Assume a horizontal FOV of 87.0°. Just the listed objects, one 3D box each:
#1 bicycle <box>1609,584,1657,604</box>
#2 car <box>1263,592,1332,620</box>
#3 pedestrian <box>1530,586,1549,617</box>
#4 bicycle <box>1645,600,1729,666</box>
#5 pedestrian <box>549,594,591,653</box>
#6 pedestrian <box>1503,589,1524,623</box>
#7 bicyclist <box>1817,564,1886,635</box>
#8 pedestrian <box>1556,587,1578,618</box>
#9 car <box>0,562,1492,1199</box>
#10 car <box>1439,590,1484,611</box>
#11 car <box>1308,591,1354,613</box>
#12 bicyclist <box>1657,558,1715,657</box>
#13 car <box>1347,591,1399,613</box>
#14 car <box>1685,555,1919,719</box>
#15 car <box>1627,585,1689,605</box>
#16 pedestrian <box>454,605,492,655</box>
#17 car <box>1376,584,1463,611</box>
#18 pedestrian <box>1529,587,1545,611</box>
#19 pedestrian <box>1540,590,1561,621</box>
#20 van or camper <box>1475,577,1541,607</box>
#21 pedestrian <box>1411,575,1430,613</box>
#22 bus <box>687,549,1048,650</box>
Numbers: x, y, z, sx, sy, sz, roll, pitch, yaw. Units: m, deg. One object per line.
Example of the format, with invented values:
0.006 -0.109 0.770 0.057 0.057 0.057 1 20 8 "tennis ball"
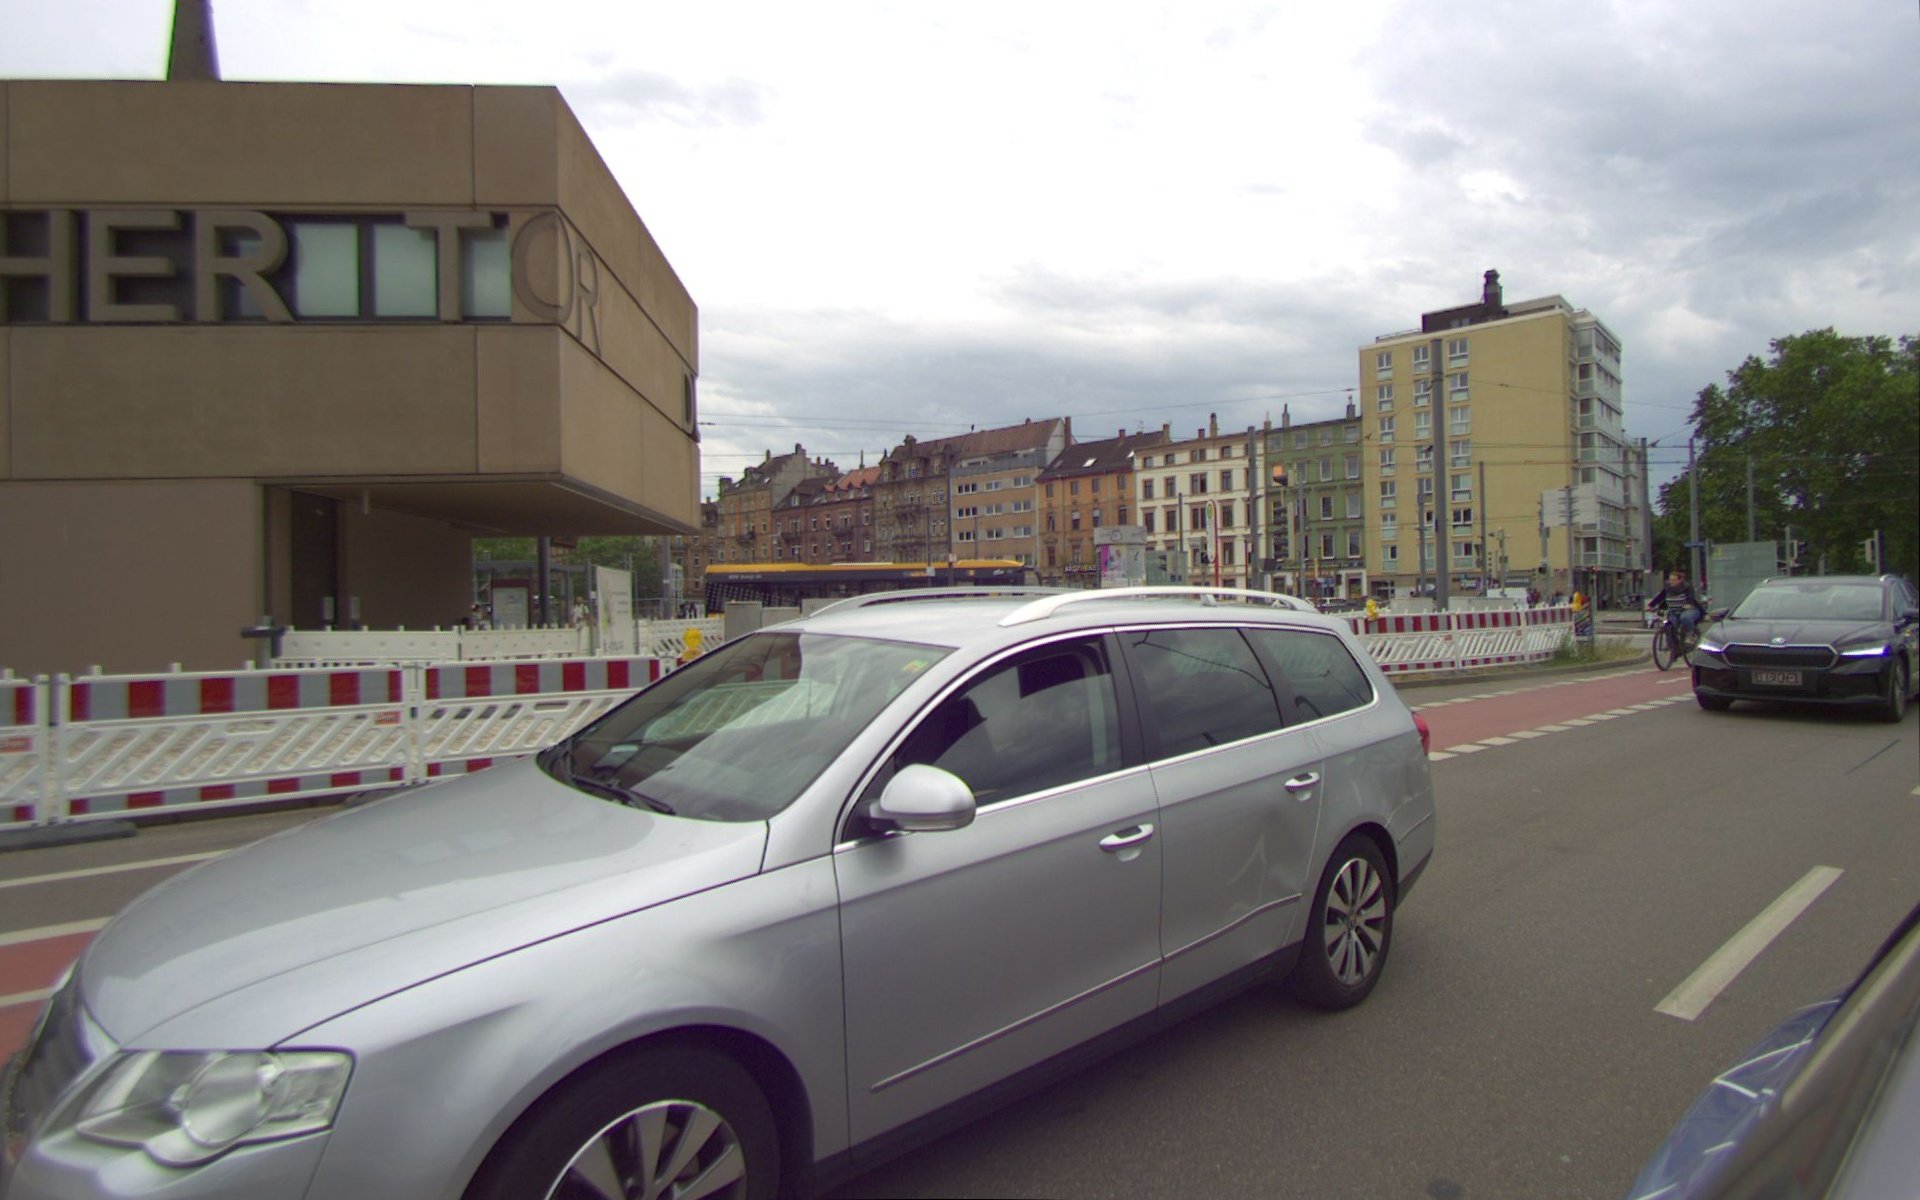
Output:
49.054 -0.415 73.832 0.889 1.395 2.776 -1 0 -44 "bicycle"
22.717 0.407 68.214 1.967 1.772 3.989 -1 0 -44 "car"
33.514 0.059 58.519 0.779 1.779 1.042 -1 0 22 "pedestrian"
12.951 0.558 18.007 2.087 1.068 0.626 -1 0 -38 "bicycle"
-12.494 0.738 32.478 1.002 1.831 0.826 -1 0 2 "pedestrian"
27.473 0.306 50.243 0.775 1.664 0.898 -2 0 20 "pedestrian"
20.860 -0.004 23.686 0.914 1.639 0.792 -1 -2 -19 "bicyclist"
32.043 0.124 53.409 0.775 1.622 0.891 -2 0 20 "pedestrian"
-0.045 0.665 3.435 4.547 1.501 1.723 -1 1 -41 "car"
36.793 0.049 74.326 1.706 1.435 3.731 -2 0 7 "car"
29.017 0.173 79.254 1.700 1.607 3.744 -1 0 -11 "car"
12.900 0.128 17.989 0.791 1.712 0.617 0 -1 -38 "bicyclist"
31.408 0.131 77.055 1.852 1.602 3.744 -1 0 -11 "car"
10.848 0.357 12.515 4.433 1.679 1.907 -1 0 -39 "car"
55.836 -0.396 80.997 3.975 1.483 1.974 -1 0 37 "car"
-16.564 1.018 34.422 0.903 1.666 0.785 -1 0 2 "pedestrian"
28.108 -0.153 61.987 1.967 1.505 4.433 -1 0 -44 "car"
43.543 -0.081 76.380 0.903 1.759 0.800 -1 0 44 "pedestrian"
31.420 0.276 53.891 0.759 1.632 0.945 -2 0 20 "pedestrian"
38.936 -0.563 72.065 2.135 2.004 5.456 -1 0 7 "van or camper"
23.665 -0.306 51.999 0.775 1.936 0.898 -2 0 20 "pedestrian"
-3.339 -0.029 37.626 12.790 3.309 3.027 -1 0 -2 "bus"
